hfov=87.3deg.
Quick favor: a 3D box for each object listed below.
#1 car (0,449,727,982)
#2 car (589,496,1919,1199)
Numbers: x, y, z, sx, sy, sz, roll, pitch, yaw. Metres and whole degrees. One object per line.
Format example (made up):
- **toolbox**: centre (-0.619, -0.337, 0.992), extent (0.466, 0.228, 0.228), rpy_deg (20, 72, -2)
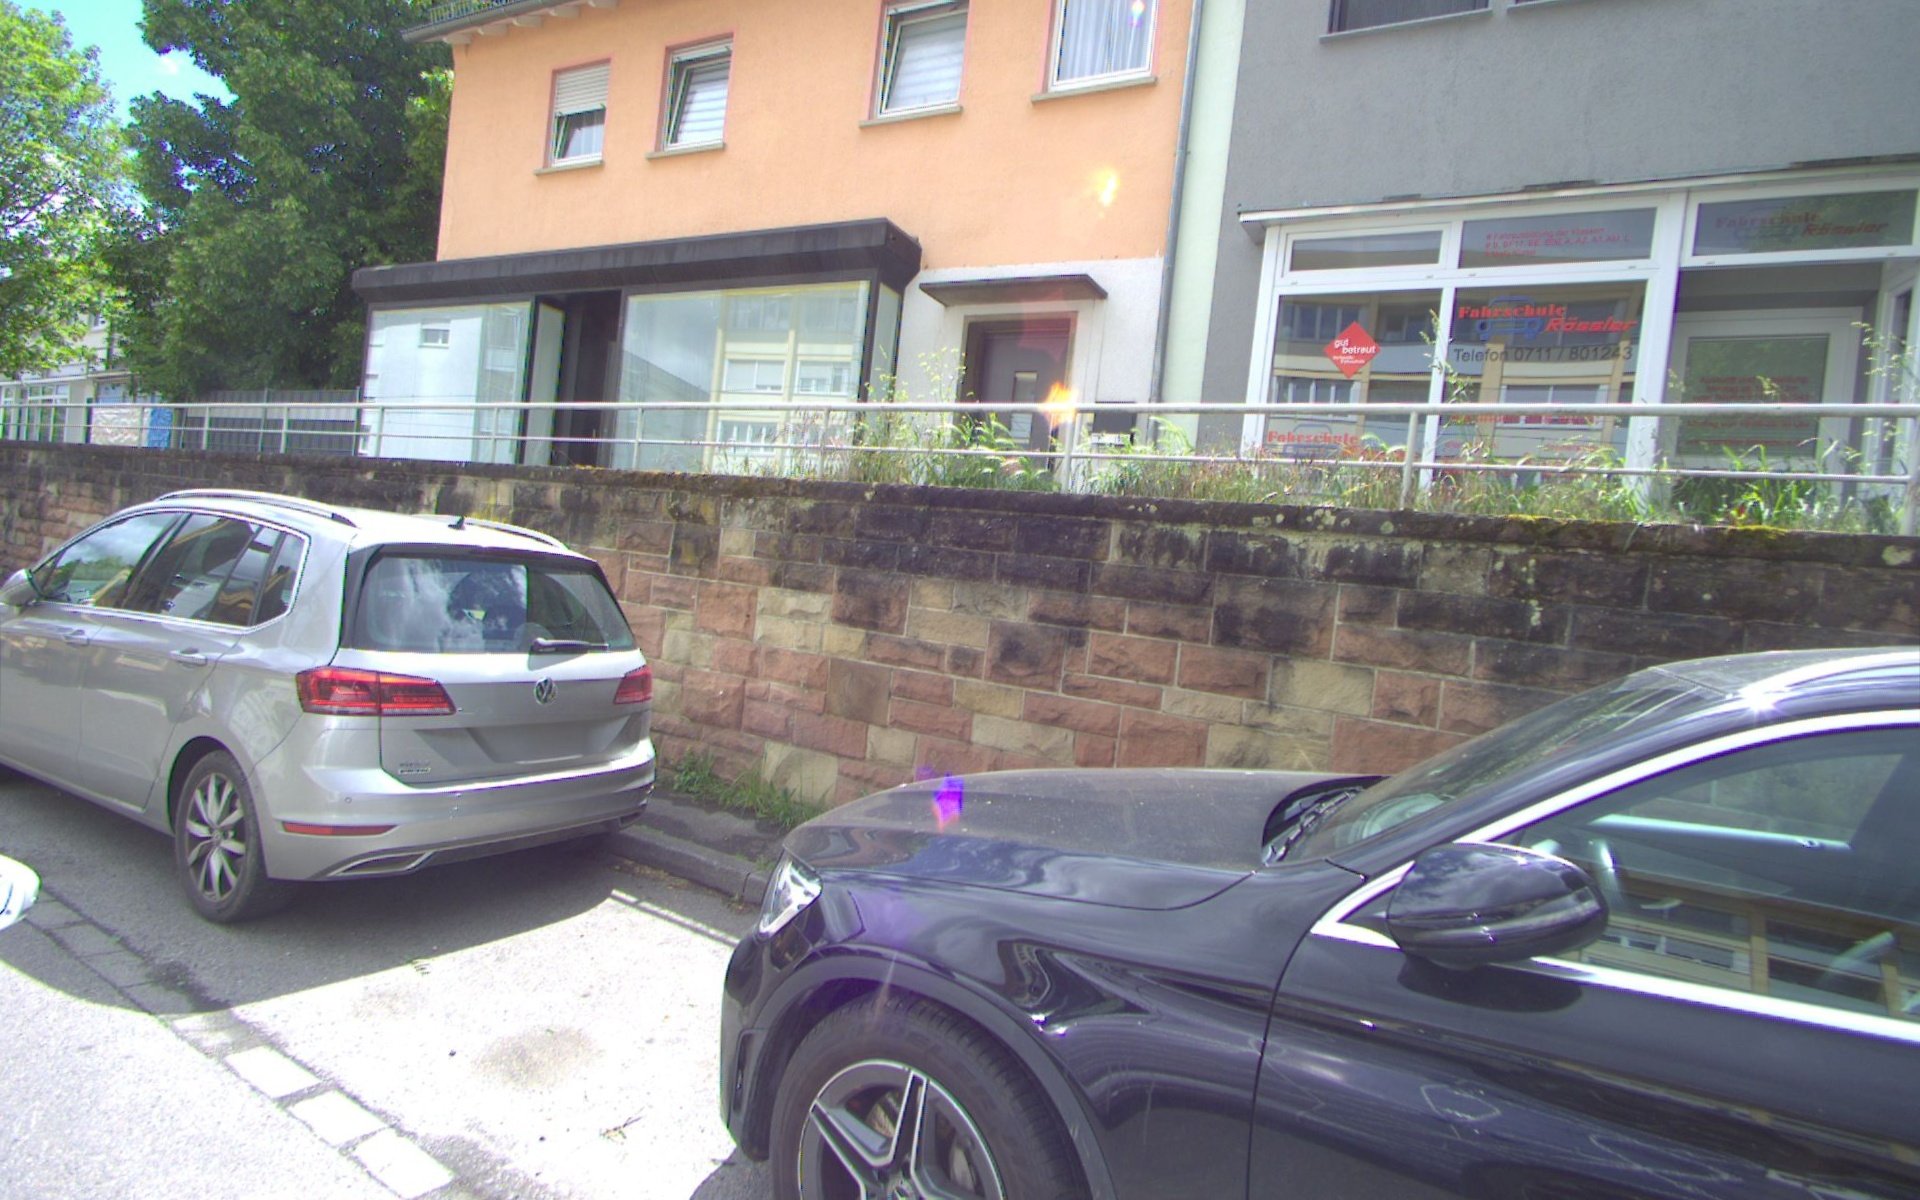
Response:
- **car**: centre (-3.404, 0.241, 5.045), extent (4.177, 1.638, 1.791), rpy_deg (7, 1, 31)
- **car**: centre (1.545, 0.842, 1.905), extent (4.373, 1.639, 1.791), rpy_deg (7, 2, 31)
